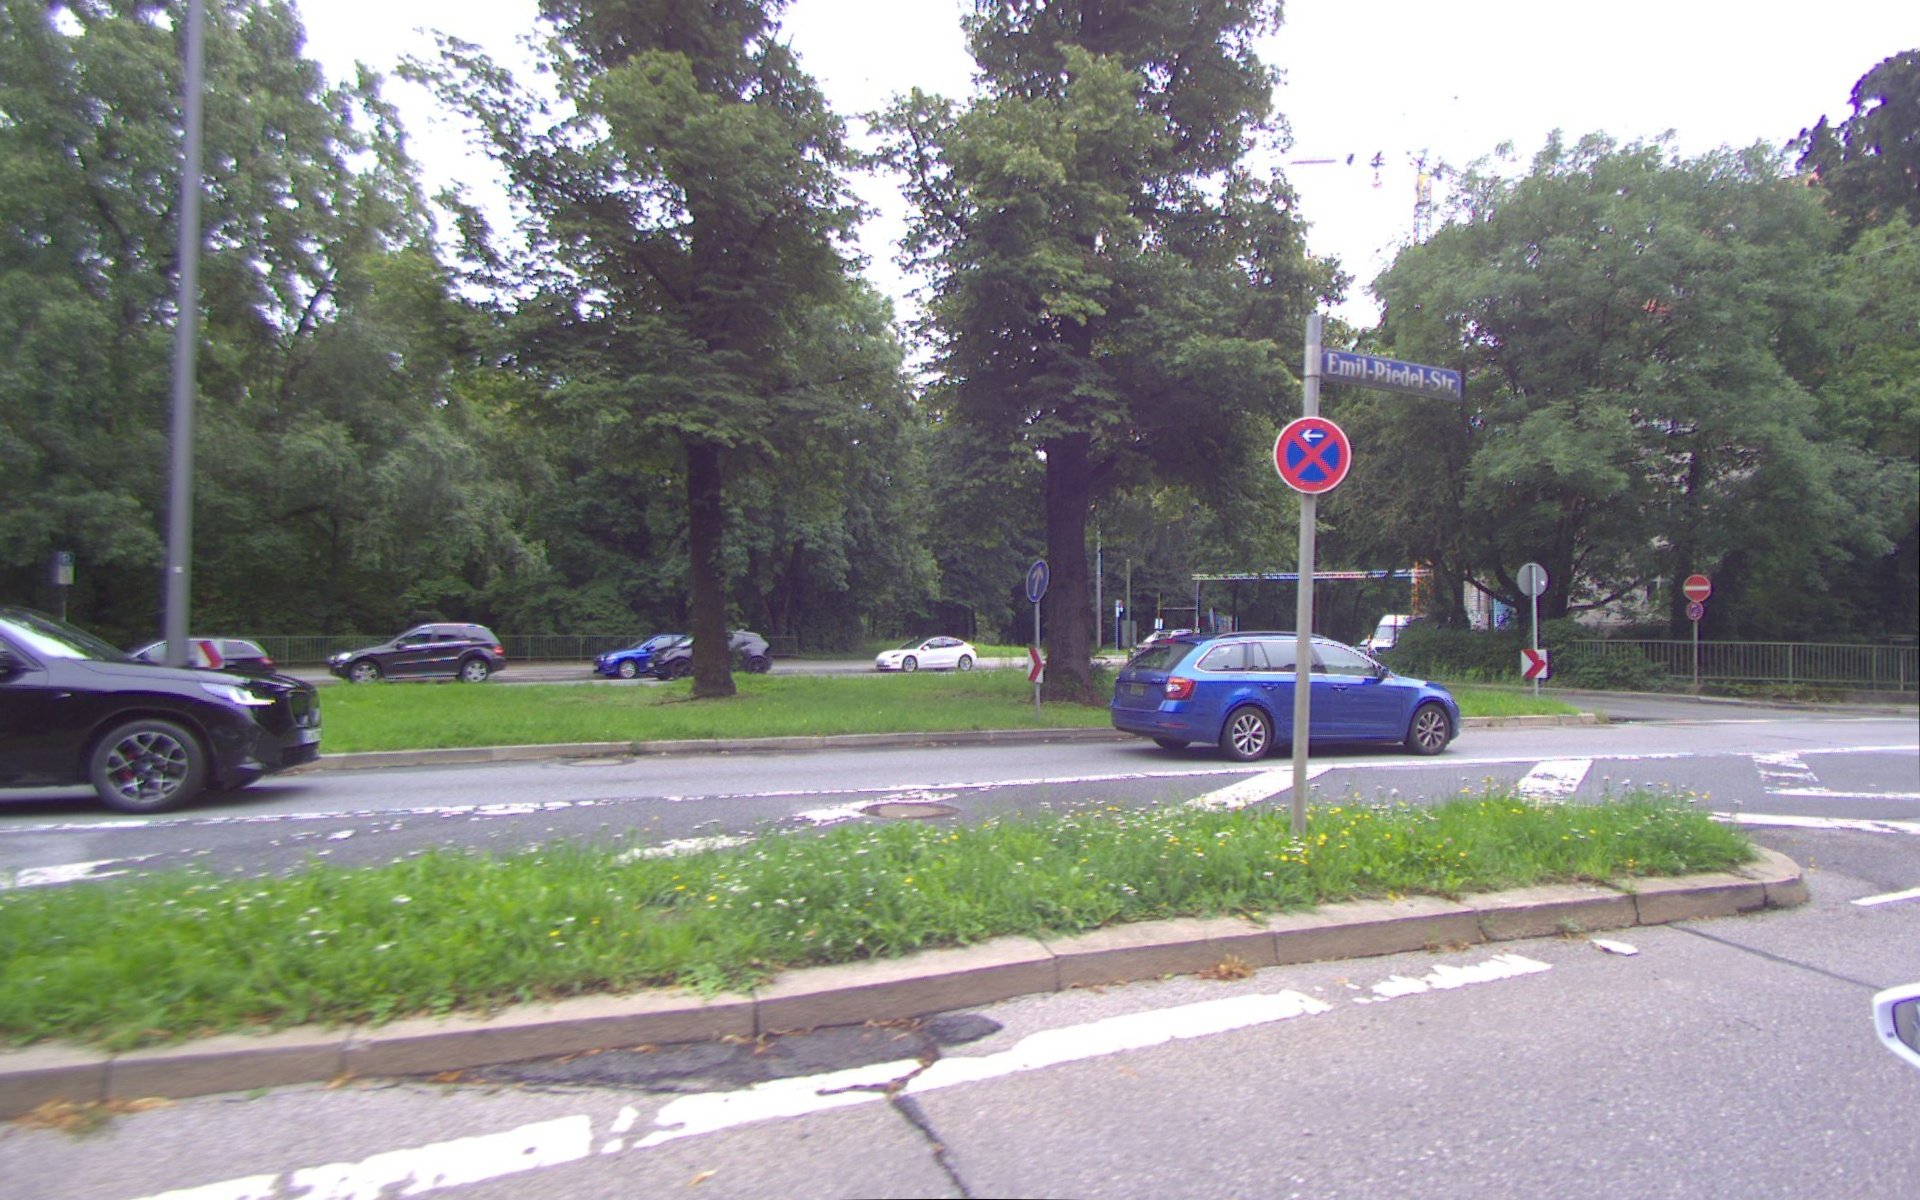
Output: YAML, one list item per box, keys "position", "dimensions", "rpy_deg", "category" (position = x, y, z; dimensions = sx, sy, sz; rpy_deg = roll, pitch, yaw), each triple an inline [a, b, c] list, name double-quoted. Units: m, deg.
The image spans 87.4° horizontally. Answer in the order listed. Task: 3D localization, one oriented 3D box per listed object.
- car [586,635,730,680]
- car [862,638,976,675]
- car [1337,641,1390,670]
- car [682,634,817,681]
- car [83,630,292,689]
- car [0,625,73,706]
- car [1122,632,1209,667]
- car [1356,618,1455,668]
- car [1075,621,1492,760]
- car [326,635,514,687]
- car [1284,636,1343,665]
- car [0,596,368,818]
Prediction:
- position: [-10.432, 1.988, 34.846]
  dimensions: [4.385, 1.465, 1.978]
  rpy_deg: [3, -4, -38]
  category: "car"
- position: [-1.647, 2.320, 41.359]
  dimensions: [4.385, 1.465, 1.978]
  rpy_deg: [3, -4, -38]
  category: "car"
- position: [26.893, 3.681, 66.895]
  dimensions: [3.968, 1.899, 1.676]
  rpy_deg: [3, -3, -41]
  category: "car"
- position: [-6.940, 1.888, 33.307]
  dimensions: [3.998, 1.465, 1.877]
  rpy_deg: [2, -3, -39]
  category: "car"
- position: [-20.699, 1.607, 27.120]
  dimensions: [4.279, 1.465, 1.979]
  rpy_deg: [3, -4, -38]
  category: "car"
- position: [-18.815, 1.166, 18.034]
  dimensions: [4.201, 1.465, 1.813]
  rpy_deg: [3, -4, -40]
  category: "car"
- position: [10.636, 2.570, 51.855]
  dimensions: [4.608, 1.740, 1.978]
  rpy_deg: [3, -4, -38]
  category: "car"
- position: [21.565, 2.081, 48.550]
  dimensions: [5.084, 2.299, 2.283]
  rpy_deg: [3, -3, -38]
  category: "car"
- position: [3.951, 1.056, 12.374]
  dimensions: [4.661, 1.473, 1.986]
  rpy_deg: [2, -2, -19]
  category: "car"
- position: [-16.195, 1.833, 30.257]
  dimensions: [4.726, 1.465, 1.979]
  rpy_deg: [3, -4, -38]
  category: "car"
- position: [22.084, 3.136, 62.685]
  dimensions: [3.970, 1.755, 1.766]
  rpy_deg: [2, -2, -41]
  category: "car"
- position: [-7.698, 0.820, 8.019]
  dimensions: [4.756, 1.607, 1.912]
  rpy_deg: [2, -4, -20]
  category: "car"
